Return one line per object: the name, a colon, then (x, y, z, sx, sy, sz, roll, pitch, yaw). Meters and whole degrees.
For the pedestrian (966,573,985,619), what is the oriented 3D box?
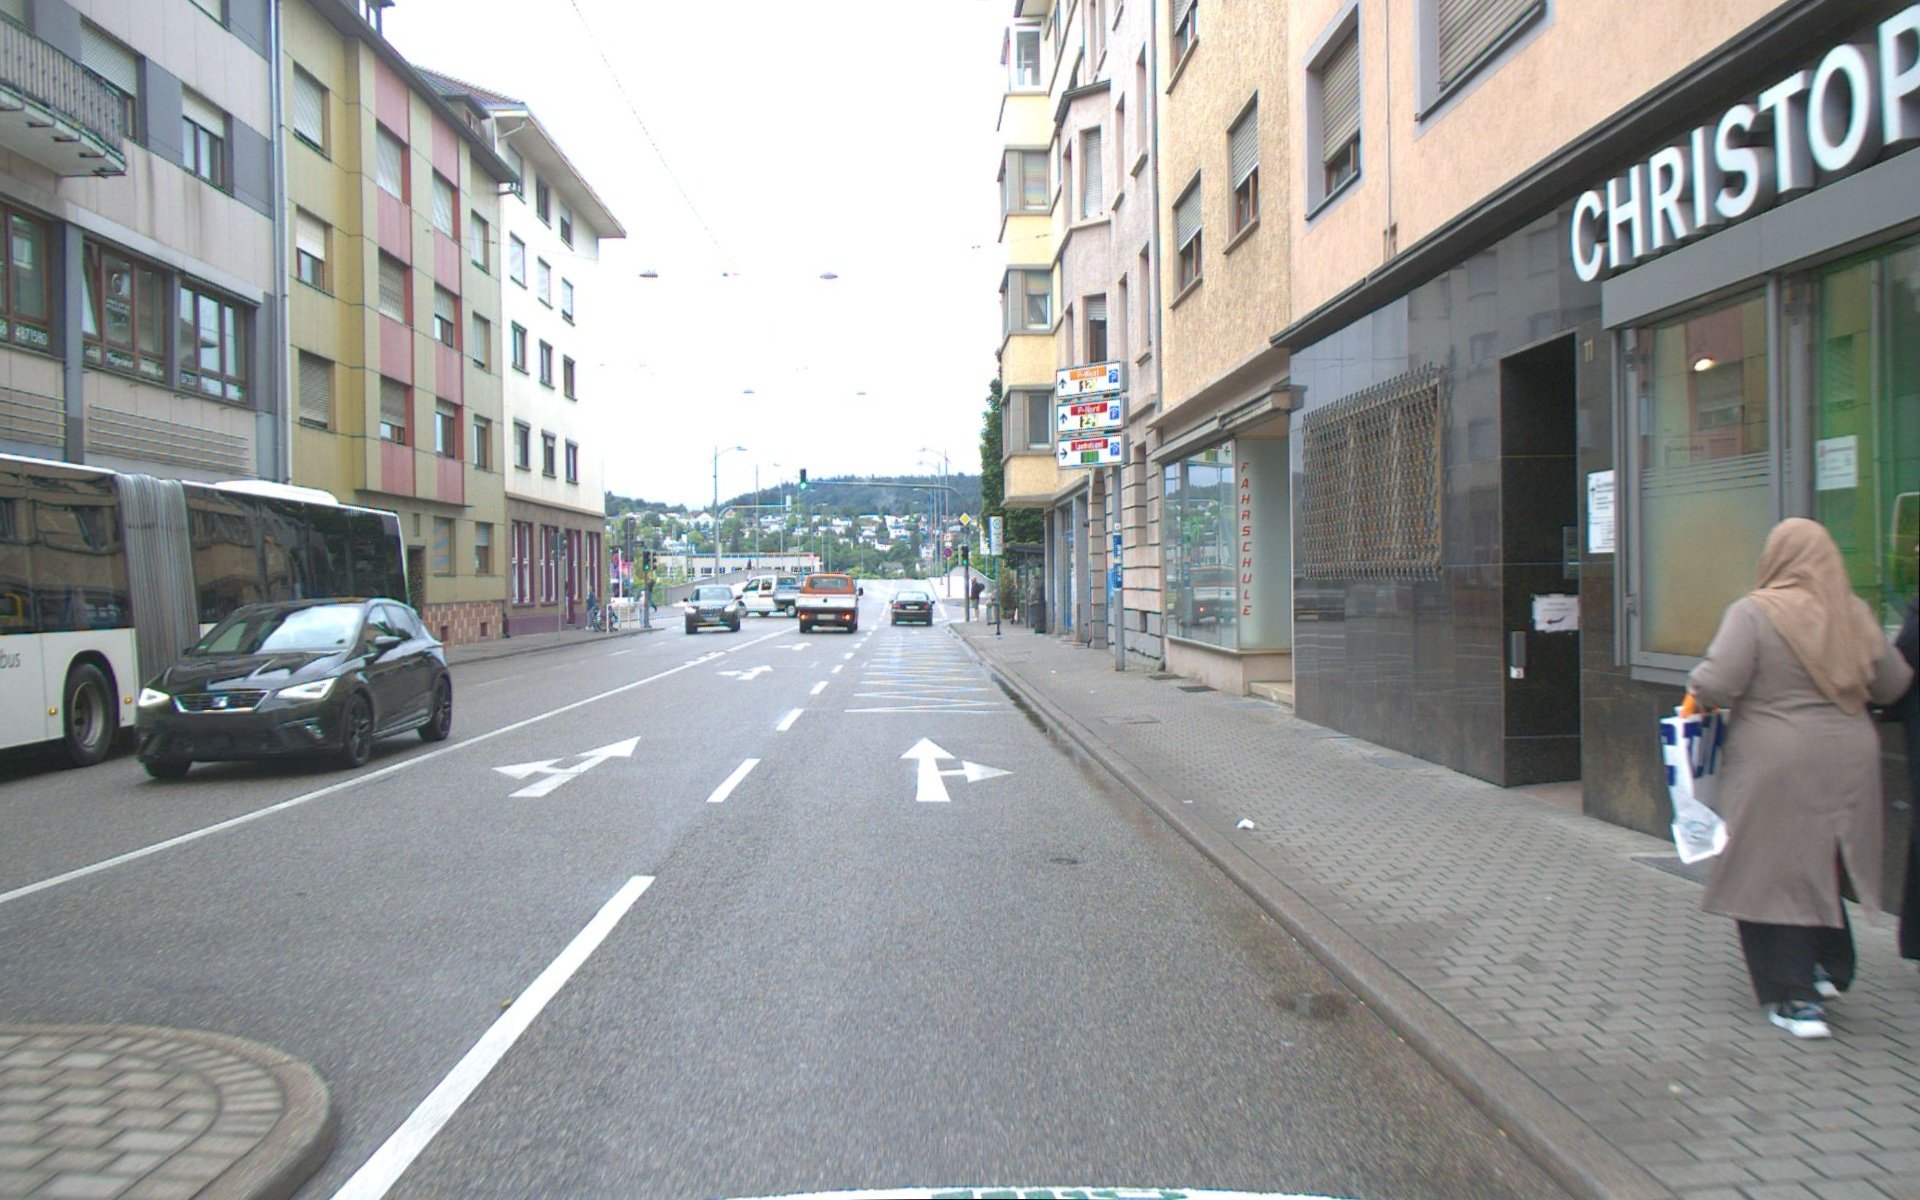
pedestrian: (0.644, -0.182, 68.798, 0.718, 1.873, 0.630, -1, 1, -4)

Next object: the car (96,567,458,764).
car: (-5.888, 0.467, 14.808, 1.674, 1.476, 4.084, -1, 1, -3)

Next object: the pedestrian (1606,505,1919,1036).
pedestrian: (2.662, 0.504, 5.390, 0.763, 1.587, 0.782, -1, 1, -4)

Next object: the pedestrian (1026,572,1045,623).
pedestrian: (2.578, -0.098, 56.672, 0.606, 1.729, 0.656, -1, 1, 2)

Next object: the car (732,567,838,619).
car: (-8.389, -0.332, 79.238, 4.904, 2.391, 1.995, -1, 1, 33)

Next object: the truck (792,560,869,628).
truck: (-4.385, -0.231, 56.674, 2.351, 2.166, 5.313, -1, 1, -2)

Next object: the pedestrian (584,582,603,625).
pedestrian: (-13.712, 0.130, 61.812, 0.563, 1.580, 0.739, -1, 1, -5)

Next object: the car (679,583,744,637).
car: (-8.934, 0.330, 59.698, 1.892, 1.788, 4.570, -1, 1, -4)

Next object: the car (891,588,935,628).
car: (-1.918, 0.308, 67.191, 1.719, 1.505, 3.999, -1, 1, -2)

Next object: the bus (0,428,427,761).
bus: (-9.460, -0.121, 20.874, 2.670, 3.244, 9.290, -1, 1, -2)

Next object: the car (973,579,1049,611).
car: (2.642, -0.276, 86.497, 3.905, 1.579, 2.000, -1, 1, 0)

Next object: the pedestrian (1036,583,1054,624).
pedestrian: (2.964, 0.108, 57.897, 0.553, 1.421, 0.513, -1, 1, -5)

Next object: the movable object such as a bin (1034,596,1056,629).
movable object such as a bin: (2.493, 0.369, 48.602, 0.588, 0.942, 0.704, -1, 1, -2)

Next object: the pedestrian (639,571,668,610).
pedestrian: (-16.147, -0.504, 87.154, 0.966, 2.049, 1.169, -1, 1, 36)

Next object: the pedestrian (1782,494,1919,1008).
pedestrian: (3.312, 0.455, 5.427, 0.753, 1.587, 0.876, -1, 1, -4)

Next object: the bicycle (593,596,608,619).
bicycle: (-13.055, 0.267, 60.099, 0.259, 0.797, 1.421, -1, 1, -2)

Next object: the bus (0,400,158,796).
bus: (-9.157, 0.038, 11.816, 2.703, 3.244, 8.909, -1, 1, -2)

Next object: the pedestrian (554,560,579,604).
pedestrian: (-14.699, -0.676, 61.821, 0.758, 1.605, 0.588, -1, 1, -2)

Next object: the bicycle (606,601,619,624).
bicycle: (-12.683, 0.462, 60.380, 0.259, 0.797, 1.111, -1, 1, -2)
